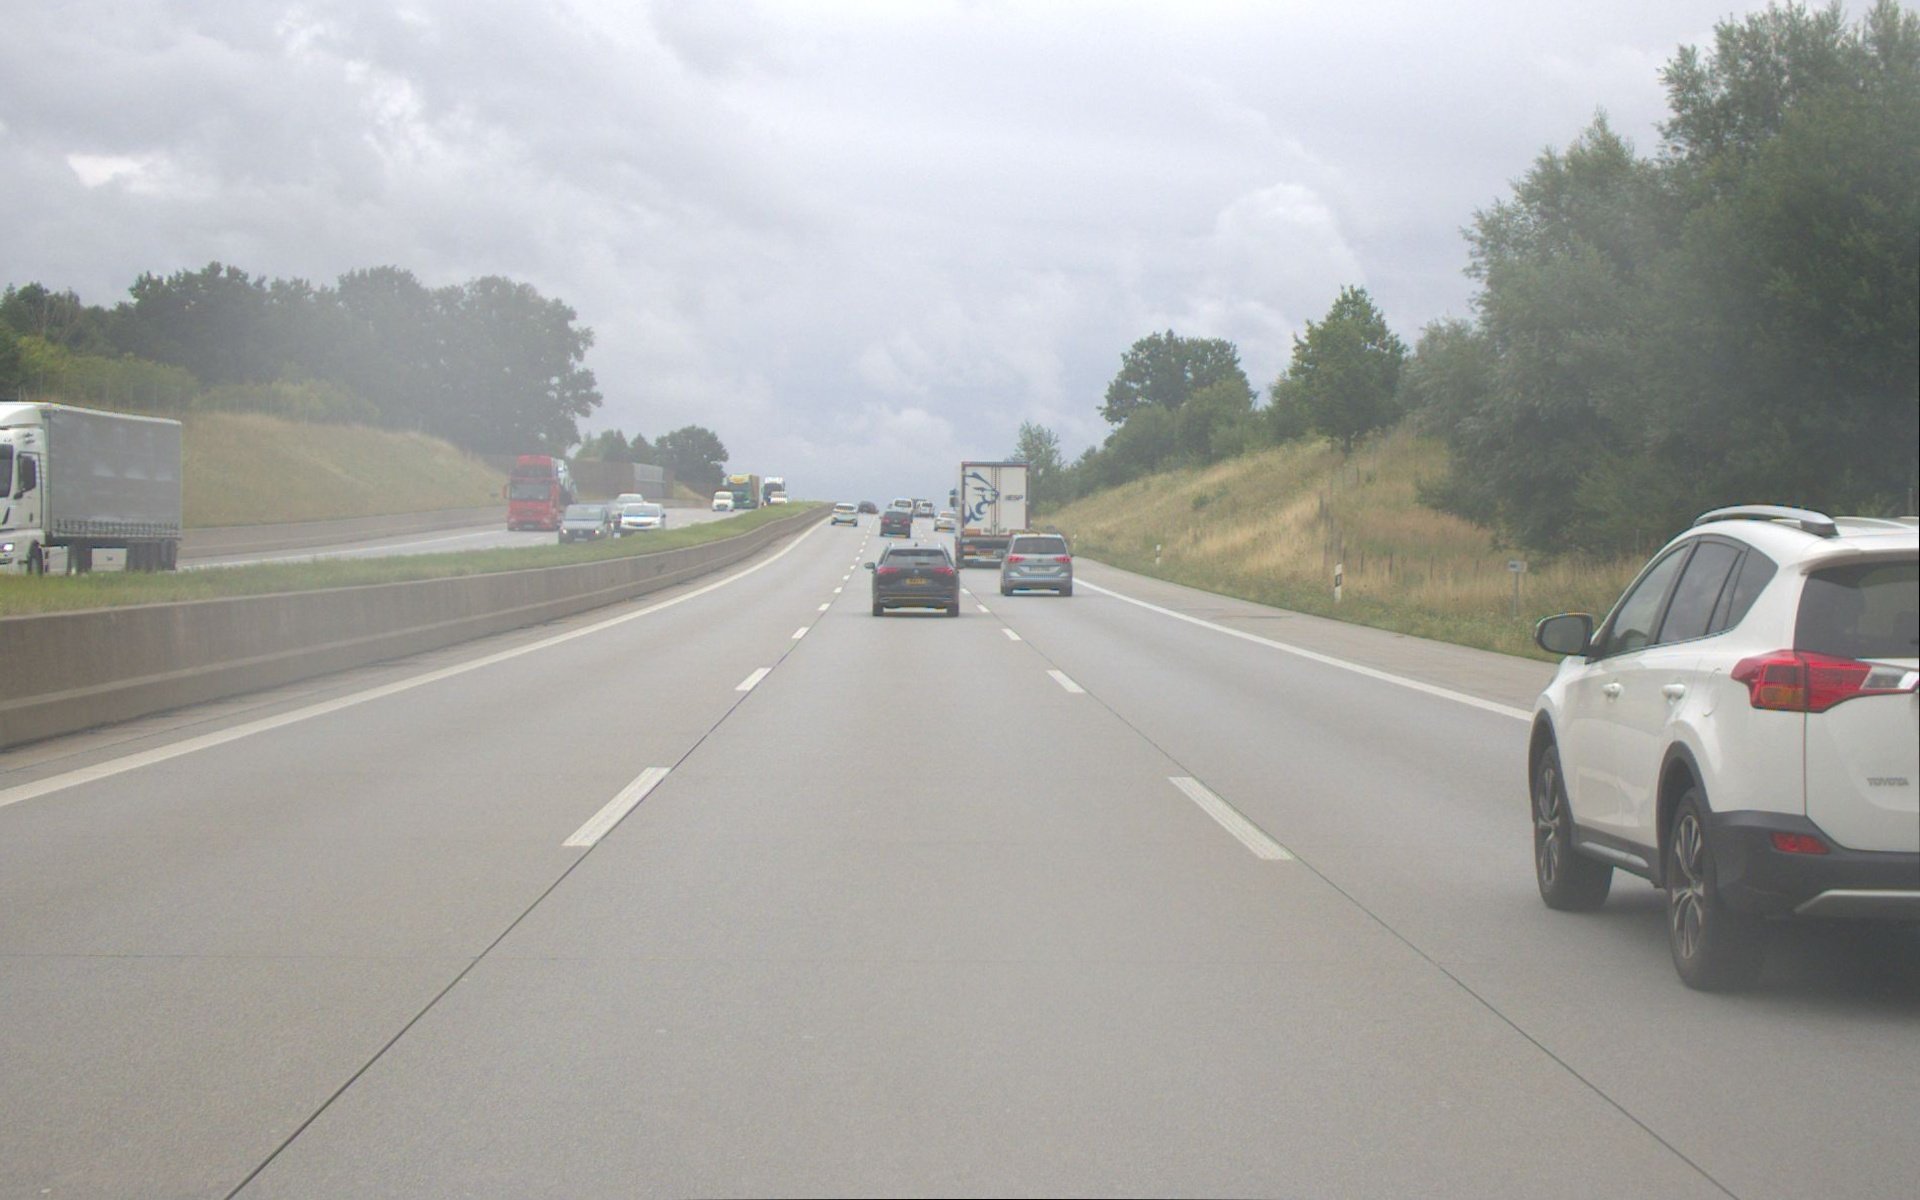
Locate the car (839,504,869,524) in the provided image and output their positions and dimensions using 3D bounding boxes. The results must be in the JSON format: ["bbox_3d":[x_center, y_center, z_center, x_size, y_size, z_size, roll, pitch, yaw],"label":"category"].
[{"bbox_3d":[-7.448,-6.043,241.652,1.947,1.351,4.260,1,1,0],"label":"car"}]

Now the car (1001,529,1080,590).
[{"bbox_3d":[2.105,-1.058,89.778,1.993,1.525,4.000,1,1,1],"label":"car"}]

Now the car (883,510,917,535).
[{"bbox_3d":[-3.648,-4.731,210.783,1.935,1.370,4.594,1,0,0],"label":"car"}]

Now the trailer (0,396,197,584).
[{"bbox_3d":[-20.954,-2.522,81.920,2.697,4.082,14.007,1,1,-1],"label":"trailer"}]

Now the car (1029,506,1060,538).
[{"bbox_3d":[5.500,-5.099,224.015,1.993,2.007,4.000,1,1,1],"label":"car"}]

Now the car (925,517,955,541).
[{"bbox_3d":[-1.404,-5.070,245.477,1.993,1.634,4.000,1,1,1],"label":"car"}]

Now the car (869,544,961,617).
[{"bbox_3d":[-0.929,-0.397,69.238,1.752,1.393,4.484,1,0,-2],"label":"car"}]

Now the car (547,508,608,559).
[{"bbox_3d":[-15.608,-2.743,140.483,1.993,1.912,5.346,1,2,-1],"label":"car"}]

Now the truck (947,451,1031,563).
[{"bbox_3d":[1.074,-3.554,133.803,3.017,4.166,8.354,1,1,-1],"label":"truck"}]

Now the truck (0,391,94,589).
[{"bbox_3d":[-20.793,-2.343,74.123,2.682,4.069,6.217,1,1,-1],"label":"truck"}]

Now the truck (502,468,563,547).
[{"bbox_3d":[-23.293,-5.030,187.581,2.552,4.237,7.465,1,1,-2],"label":"truck"}]

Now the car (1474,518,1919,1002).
[{"bbox_3d":[3.329,0.528,13.799,1.825,1.650,3.985,1,1,-1],"label":"car"}]

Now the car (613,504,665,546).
[{"bbox_3d":[-14.812,-3.478,158.805,1.993,1.880,5.513,1,1,-2],"label":"car"}]

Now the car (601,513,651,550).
[{"bbox_3d":[-18.396,-3.768,189.516,2.148,2.007,5.749,1,1,0],"label":"car"}]
